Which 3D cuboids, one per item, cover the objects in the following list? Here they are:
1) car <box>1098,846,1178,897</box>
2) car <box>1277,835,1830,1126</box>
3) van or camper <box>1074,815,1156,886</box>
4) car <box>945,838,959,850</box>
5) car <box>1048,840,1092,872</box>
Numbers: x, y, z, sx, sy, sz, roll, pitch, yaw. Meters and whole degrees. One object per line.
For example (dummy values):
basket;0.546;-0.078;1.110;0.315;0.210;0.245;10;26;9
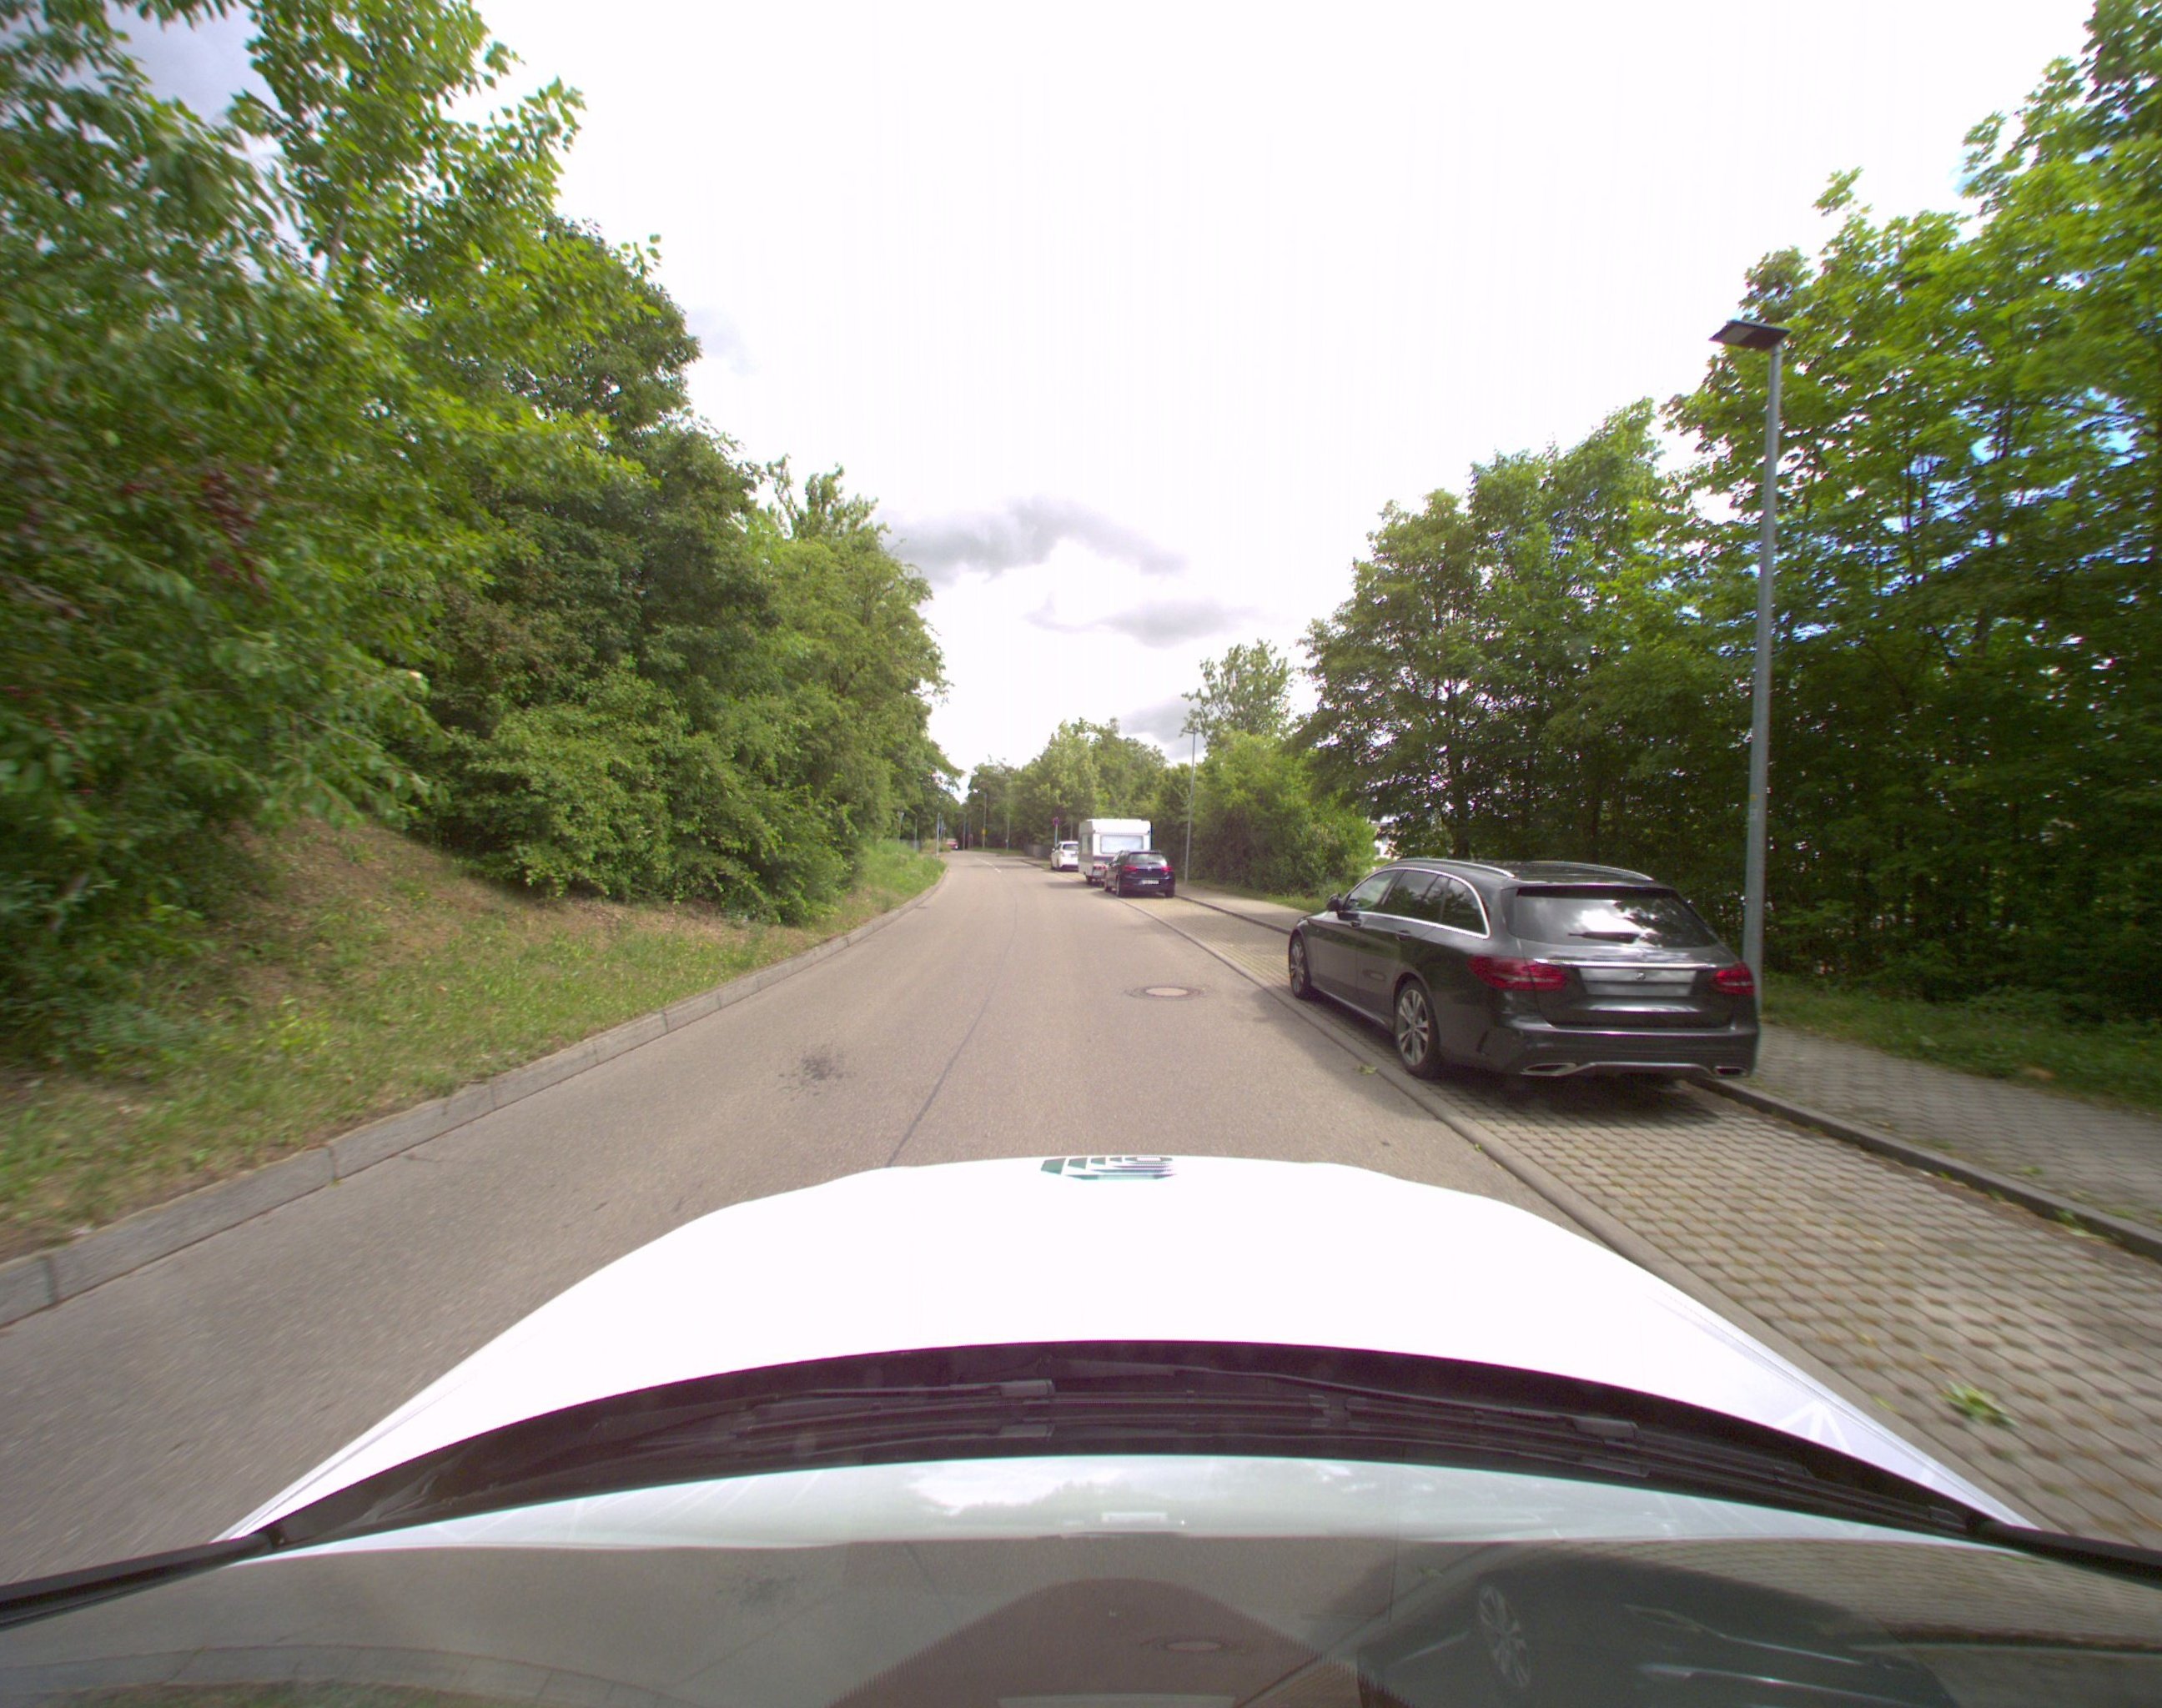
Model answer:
car;1.733;0.500;26.272;1.680;1.451;4.469;2;1;-8
car;3.105;0.647;6.678;1.887;1.530;4.546;2;1;0
van or camper;1.203;-0.160;31.851;2.353;2.553;5.061;0;1;-8
car;-18.641;-1.497;117.619;1.845;1.658;4.204;2;1;-12
car;-0.657;0.060;44.500;1.804;1.599;4.358;1;1;-9
